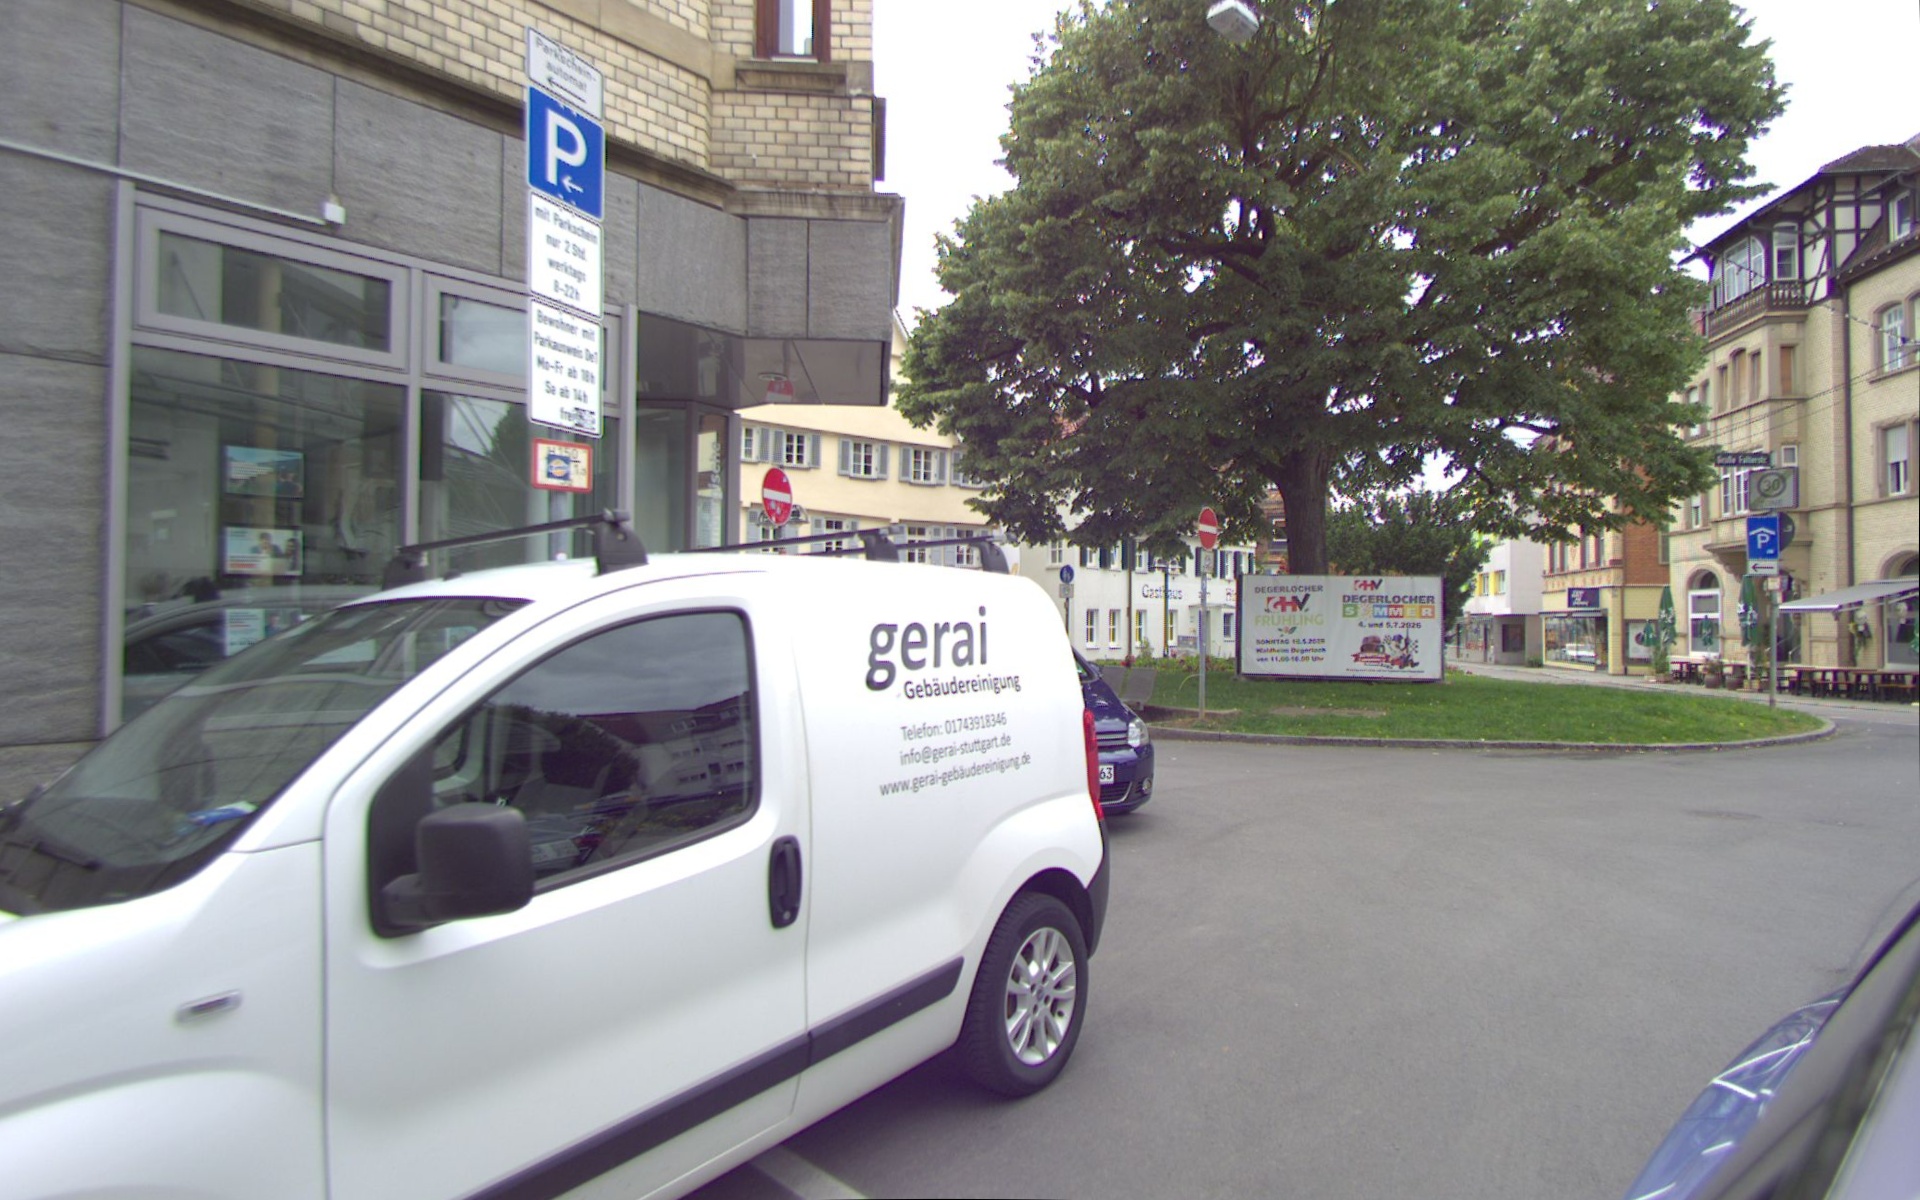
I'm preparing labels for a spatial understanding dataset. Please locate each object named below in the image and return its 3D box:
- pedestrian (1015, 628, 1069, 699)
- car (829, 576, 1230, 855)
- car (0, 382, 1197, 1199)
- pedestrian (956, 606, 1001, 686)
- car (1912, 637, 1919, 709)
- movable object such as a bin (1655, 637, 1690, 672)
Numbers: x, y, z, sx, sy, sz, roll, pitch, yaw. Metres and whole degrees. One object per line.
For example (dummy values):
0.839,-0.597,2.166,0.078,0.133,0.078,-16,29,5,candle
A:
1.669,1.266,20.561,0.847,1.398,0.967,-1,-2,23,pedestrian
0.277,0.758,8.550,1.823,1.726,4.029,-1,-1,-21,car
-1.096,0.657,2.904,1.822,1.815,4.158,-2,-2,39,car
0.416,1.022,22.688,0.779,1.767,0.713,1,-2,-22,pedestrian
19.592,1.343,17.685,1.720,1.372,4.006,0,-1,-11,car
30.323,2.328,43.083,0.932,1.395,0.819,-3,0,17,movable object such as a bin
